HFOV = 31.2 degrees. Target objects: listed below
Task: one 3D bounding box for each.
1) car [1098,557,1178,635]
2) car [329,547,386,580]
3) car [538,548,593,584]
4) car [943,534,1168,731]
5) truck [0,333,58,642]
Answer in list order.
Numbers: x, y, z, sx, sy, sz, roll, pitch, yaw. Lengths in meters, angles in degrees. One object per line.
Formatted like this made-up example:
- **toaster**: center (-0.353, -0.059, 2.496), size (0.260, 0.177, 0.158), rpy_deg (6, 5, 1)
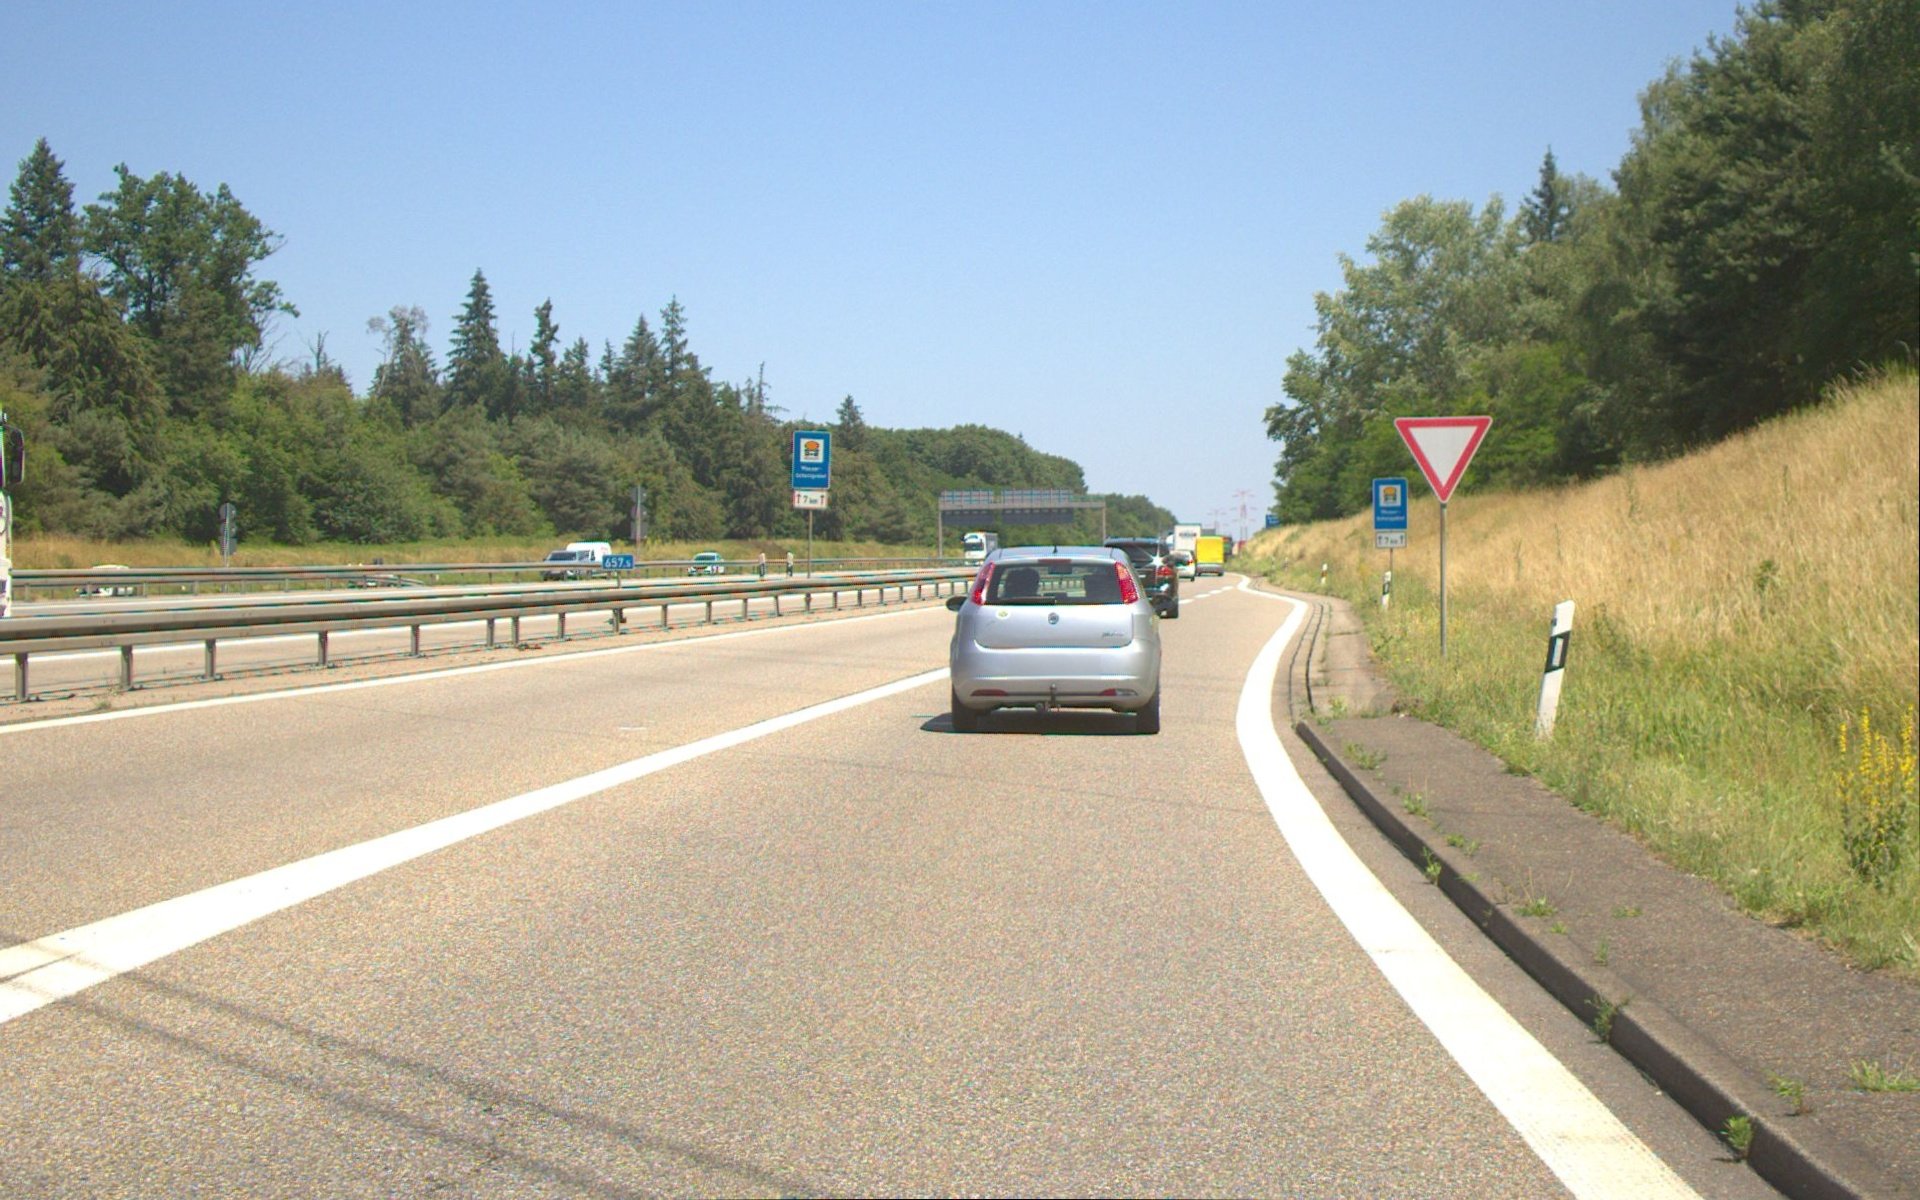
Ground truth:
- **car**: center (3.906, -0.069, 75.370), size (1.706, 1.670, 3.397), rpy_deg (0, -1, 3)
- **car**: center (-33.015, -1.995, 188.421), size (1.994, 1.777, 3.999), rpy_deg (0, 0, 7)
- **car**: center (-19.754, -1.679, 172.352), size (1.994, 1.777, 3.999), rpy_deg (0, 0, 5)
- **car**: center (0.841, 0.220, 28.231), size (1.706, 1.476, 3.397), rpy_deg (0, 2, 4)
- **truck**: center (-13.215, -1.373, 42.025), size (2.757, 3.794, 4.621), rpy_deg (0, 2, 6)
